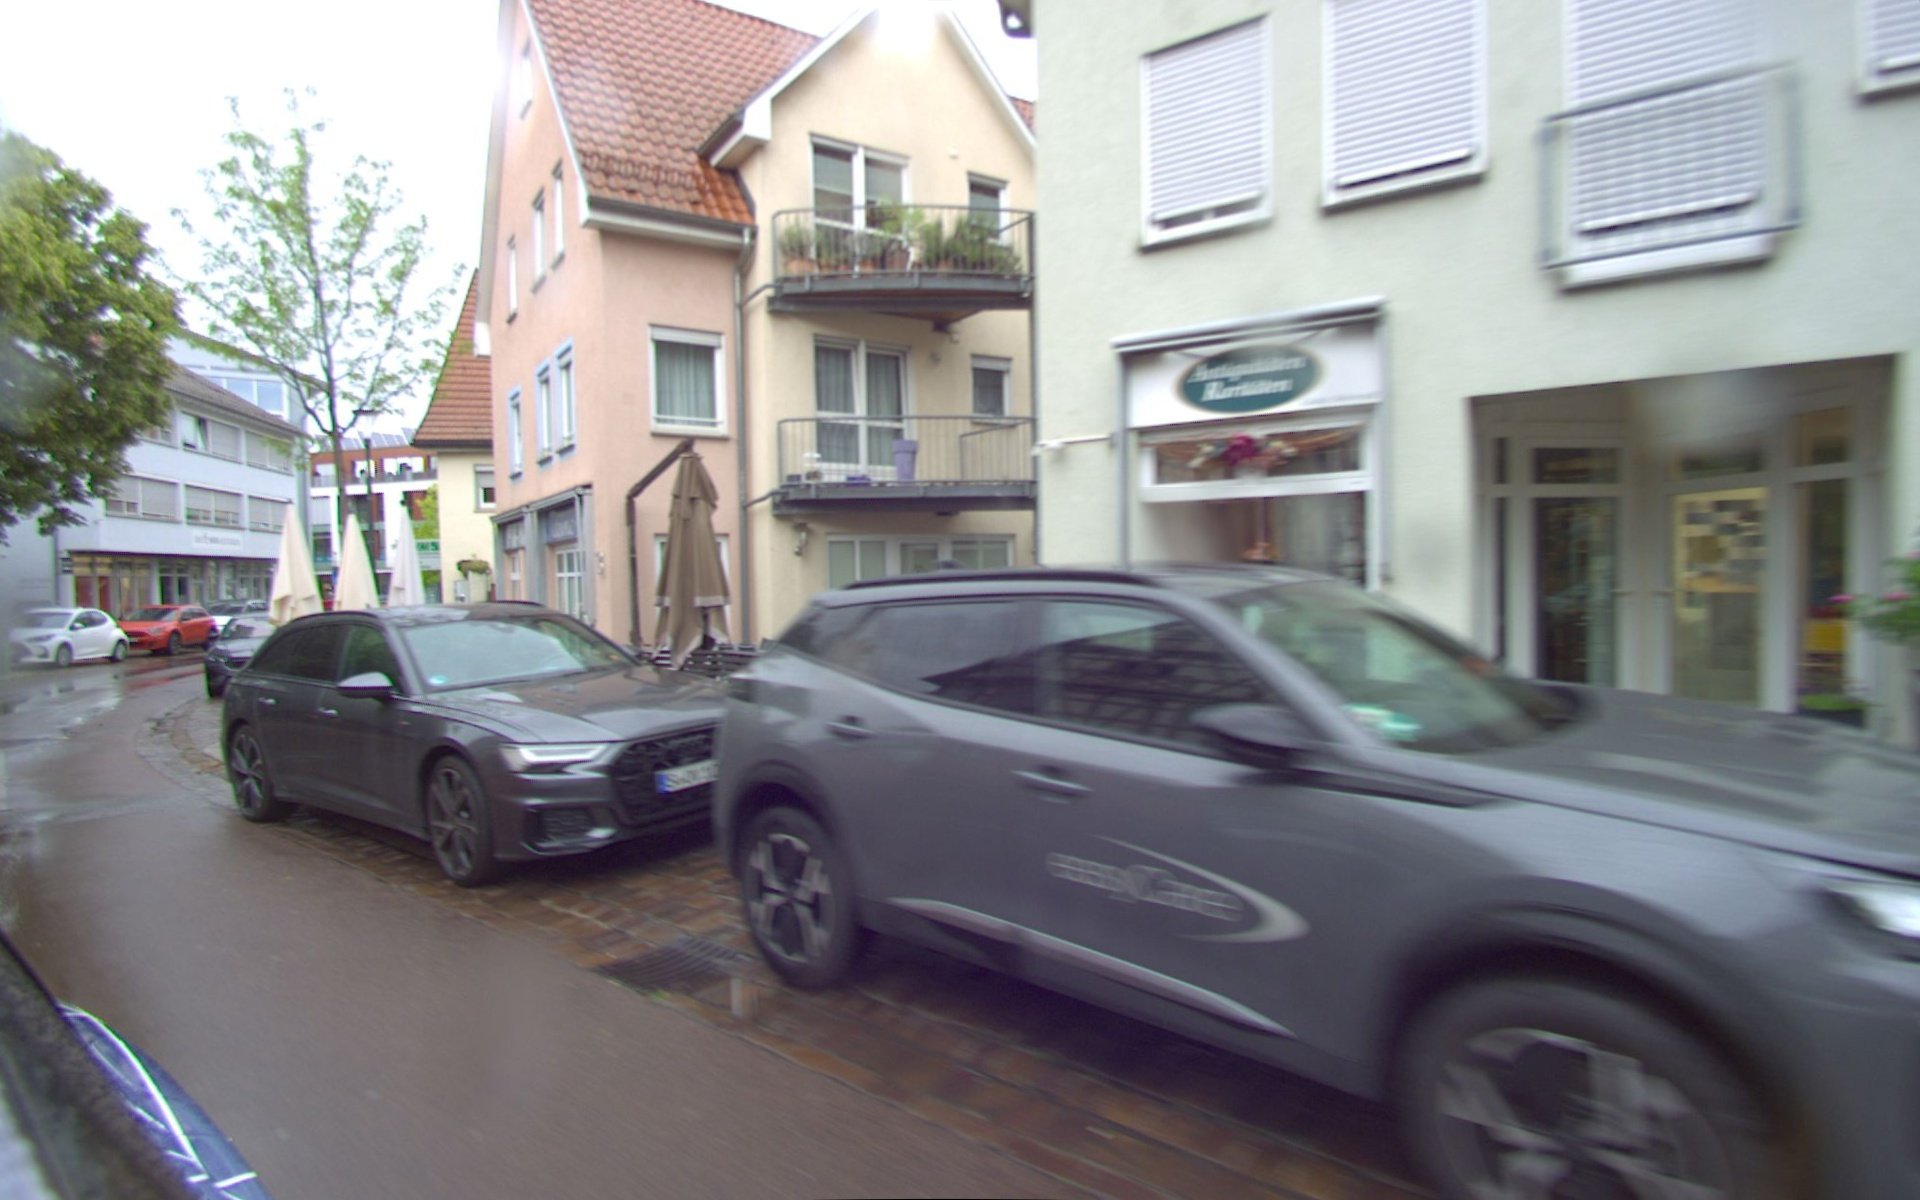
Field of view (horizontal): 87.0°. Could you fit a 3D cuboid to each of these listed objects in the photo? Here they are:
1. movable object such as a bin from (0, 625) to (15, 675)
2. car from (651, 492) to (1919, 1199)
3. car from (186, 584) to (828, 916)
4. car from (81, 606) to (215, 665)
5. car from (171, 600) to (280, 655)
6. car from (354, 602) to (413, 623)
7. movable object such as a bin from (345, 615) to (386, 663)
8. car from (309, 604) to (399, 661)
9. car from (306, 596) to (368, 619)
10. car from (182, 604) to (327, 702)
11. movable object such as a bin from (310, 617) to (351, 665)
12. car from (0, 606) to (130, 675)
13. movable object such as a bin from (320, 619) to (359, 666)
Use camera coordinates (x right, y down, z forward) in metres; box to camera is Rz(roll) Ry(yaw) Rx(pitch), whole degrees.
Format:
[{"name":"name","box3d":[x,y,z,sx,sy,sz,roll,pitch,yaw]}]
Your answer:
[{"name":"movable object such as a bin","box3d":[-22.501,1.170,23.421,0.715,1.101,0.612,-2,3,-25]},{"name":"car","box3d":[0.960,0.559,3.392,4.328,1.535,1.842,-1,3,43]},{"name":"car","box3d":[-3.202,0.720,6.704,4.611,1.453,1.845,-2,1,37]},{"name":"car","box3d":[-25.021,1.036,31.370,1.763,1.479,3.961,-2,3,-15]},{"name":"car","box3d":[-26.595,0.939,36.827,1.763,1.611,4.454,-2,3,-16]},{"name":"car","box3d":[-41.415,0.903,72.753,3.555,1.446,1.671,-1,3,18]},{"name":"movable object such as a bin","box3d":[-15.283,1.003,26.031,0.690,1.130,0.721,-5,3,-17]},{"name":"car","box3d":[-17.746,0.917,29.806,1.823,1.463,4.086,-3,0,-25]},{"name":"car","box3d":[-45.950,0.551,74.595,3.890,1.566,1.793,0,3,19]},{"name":"car","box3d":[-13.232,0.913,19.231,1.849,1.552,4.413,-3,1,-30]},{"name":"movable object such as a bin","box3d":[-15.992,1.039,25.717,0.690,1.152,0.721,-2,0,-18]},{"name":"car","box3d":[-23.518,0.986,26.157,1.763,1.567,3.961,-1,1,-16]},{"name":"movable object such as a bin","box3d":[-16.223,1.100,26.474,0.672,1.144,0.721,-2,1,-17]}]
